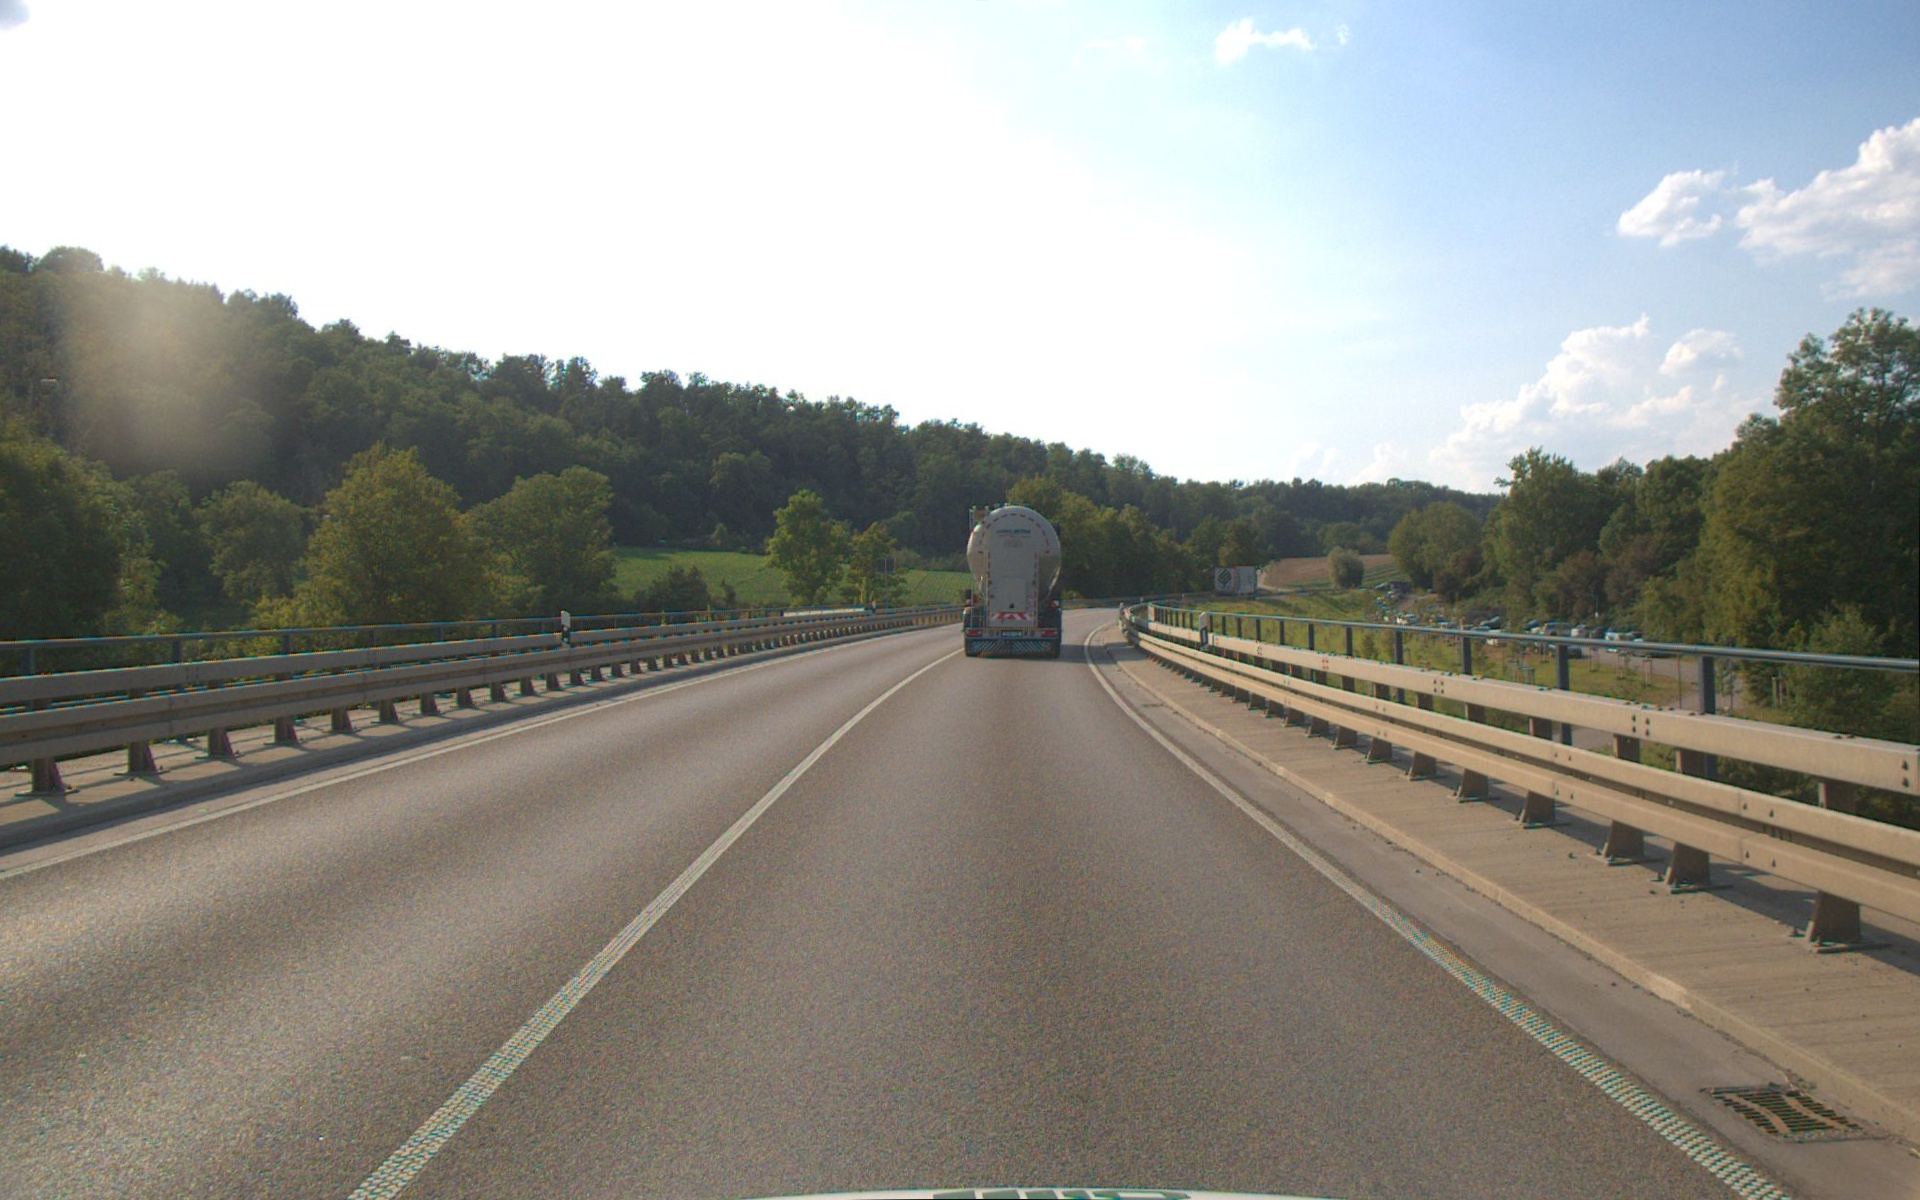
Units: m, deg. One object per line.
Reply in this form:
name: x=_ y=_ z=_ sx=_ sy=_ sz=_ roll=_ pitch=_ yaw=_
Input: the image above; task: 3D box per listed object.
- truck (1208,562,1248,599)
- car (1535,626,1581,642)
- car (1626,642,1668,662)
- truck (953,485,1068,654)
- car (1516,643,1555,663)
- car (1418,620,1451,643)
truck: x=32.402 y=-2.452 z=199.636 sx=3.116 sy=4.301 sz=13.182 roll=-1 pitch=1 yaw=16
car: x=60.337 y=3.422 z=166.923 sx=4.150 sy=1.481 sz=1.616 roll=1 pitch=0 yaw=-5
car: x=54.581 y=4.117 z=131.473 sx=1.620 sy=1.523 sz=4.223 roll=0 pitch=0 yaw=0
truck: x=1.687 y=-0.742 z=48.160 sx=2.832 sy=4.215 sz=13.177 roll=1 pitch=0 yaw=4
car: x=49.754 y=4.543 z=143.028 sx=1.781 sy=1.425 sz=4.255 roll=-2 pitch=1 yaw=-2
car: x=51.063 y=3.371 z=178.188 sx=2.075 sy=2.053 sz=5.381 roll=-4 pitch=1 yaw=2
